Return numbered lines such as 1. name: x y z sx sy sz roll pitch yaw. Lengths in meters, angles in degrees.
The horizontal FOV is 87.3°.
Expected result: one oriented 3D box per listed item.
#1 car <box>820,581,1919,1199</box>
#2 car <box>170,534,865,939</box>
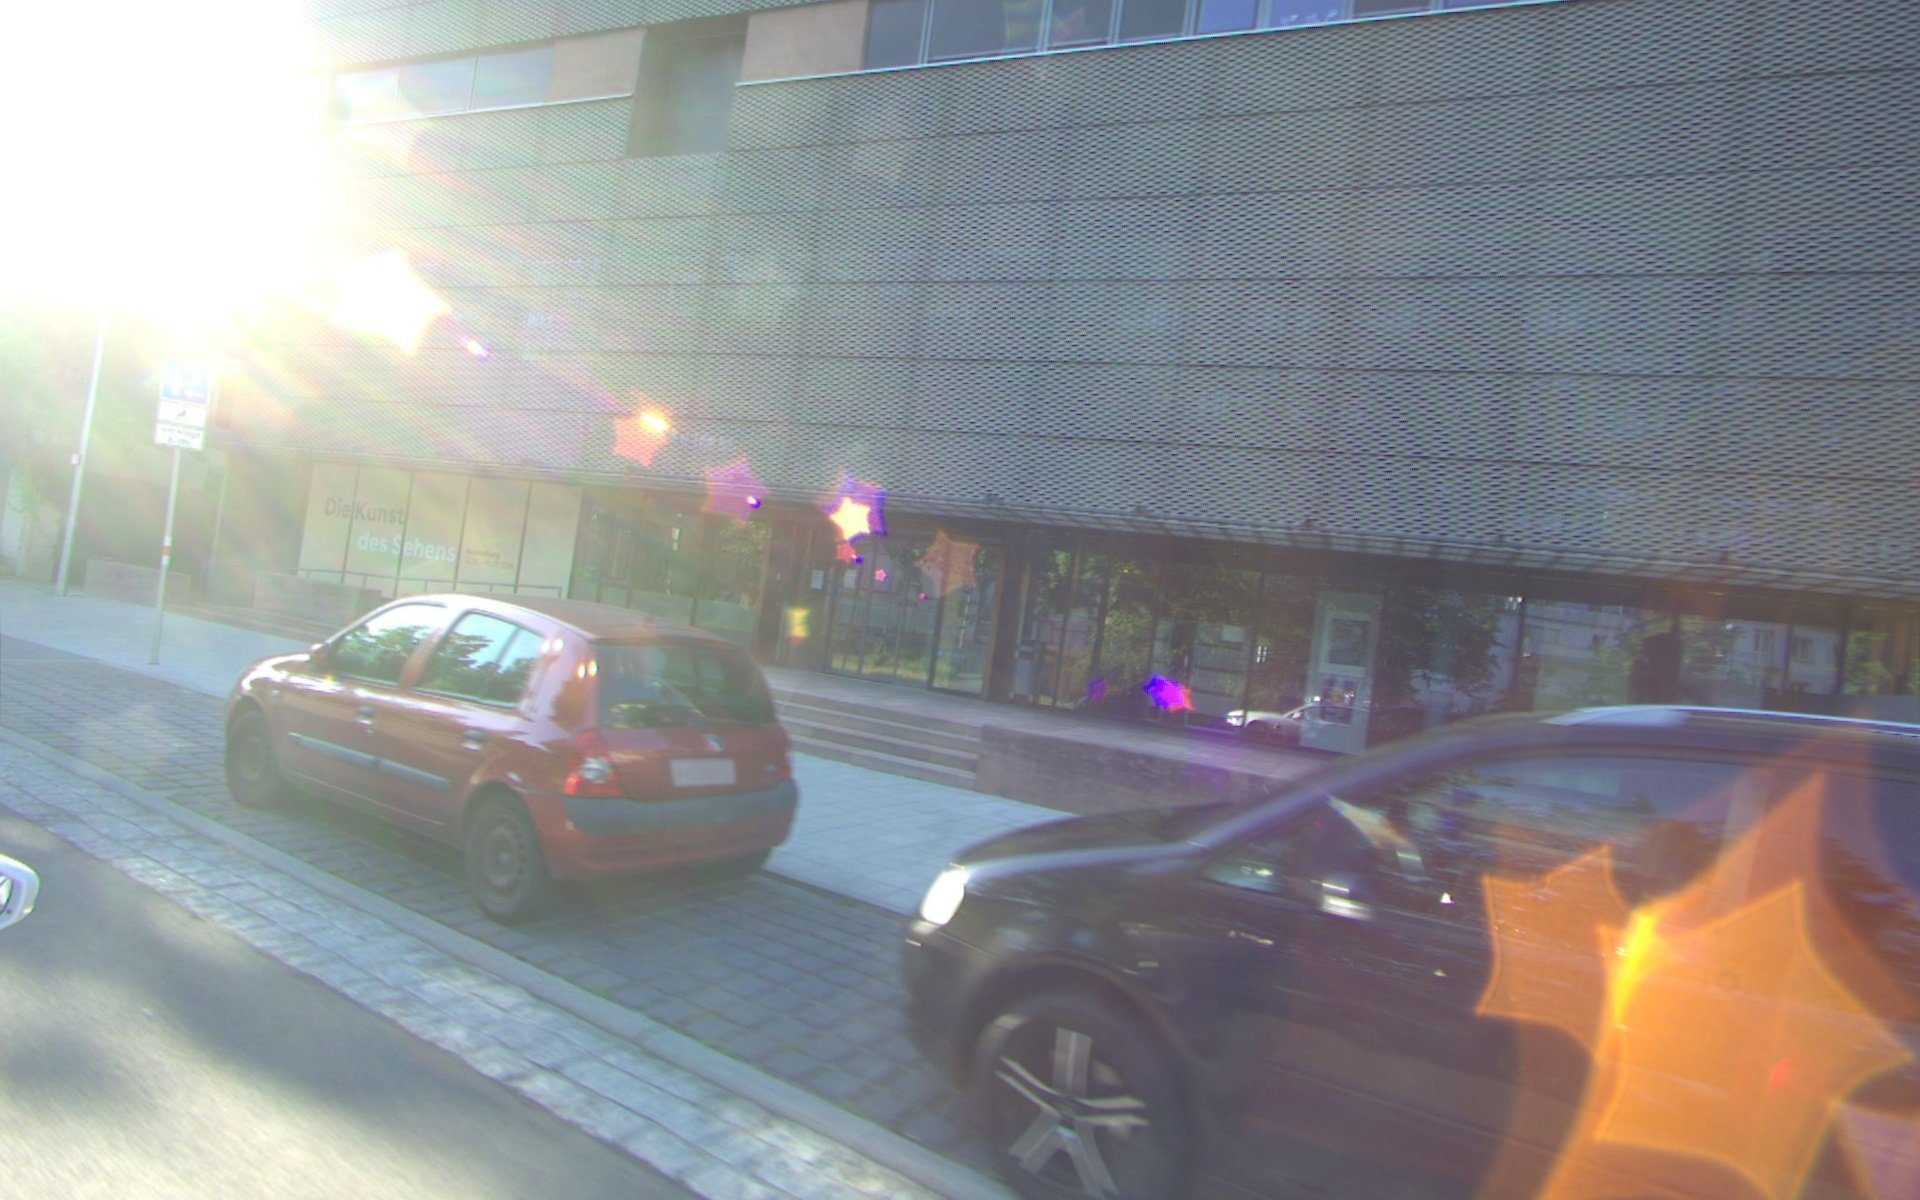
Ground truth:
1. car: 1.821 1.057 2.866 4.044 1.688 1.728 7 -1 30
2. car: -2.679 0.578 5.872 3.842 1.438 1.727 6 -2 32
